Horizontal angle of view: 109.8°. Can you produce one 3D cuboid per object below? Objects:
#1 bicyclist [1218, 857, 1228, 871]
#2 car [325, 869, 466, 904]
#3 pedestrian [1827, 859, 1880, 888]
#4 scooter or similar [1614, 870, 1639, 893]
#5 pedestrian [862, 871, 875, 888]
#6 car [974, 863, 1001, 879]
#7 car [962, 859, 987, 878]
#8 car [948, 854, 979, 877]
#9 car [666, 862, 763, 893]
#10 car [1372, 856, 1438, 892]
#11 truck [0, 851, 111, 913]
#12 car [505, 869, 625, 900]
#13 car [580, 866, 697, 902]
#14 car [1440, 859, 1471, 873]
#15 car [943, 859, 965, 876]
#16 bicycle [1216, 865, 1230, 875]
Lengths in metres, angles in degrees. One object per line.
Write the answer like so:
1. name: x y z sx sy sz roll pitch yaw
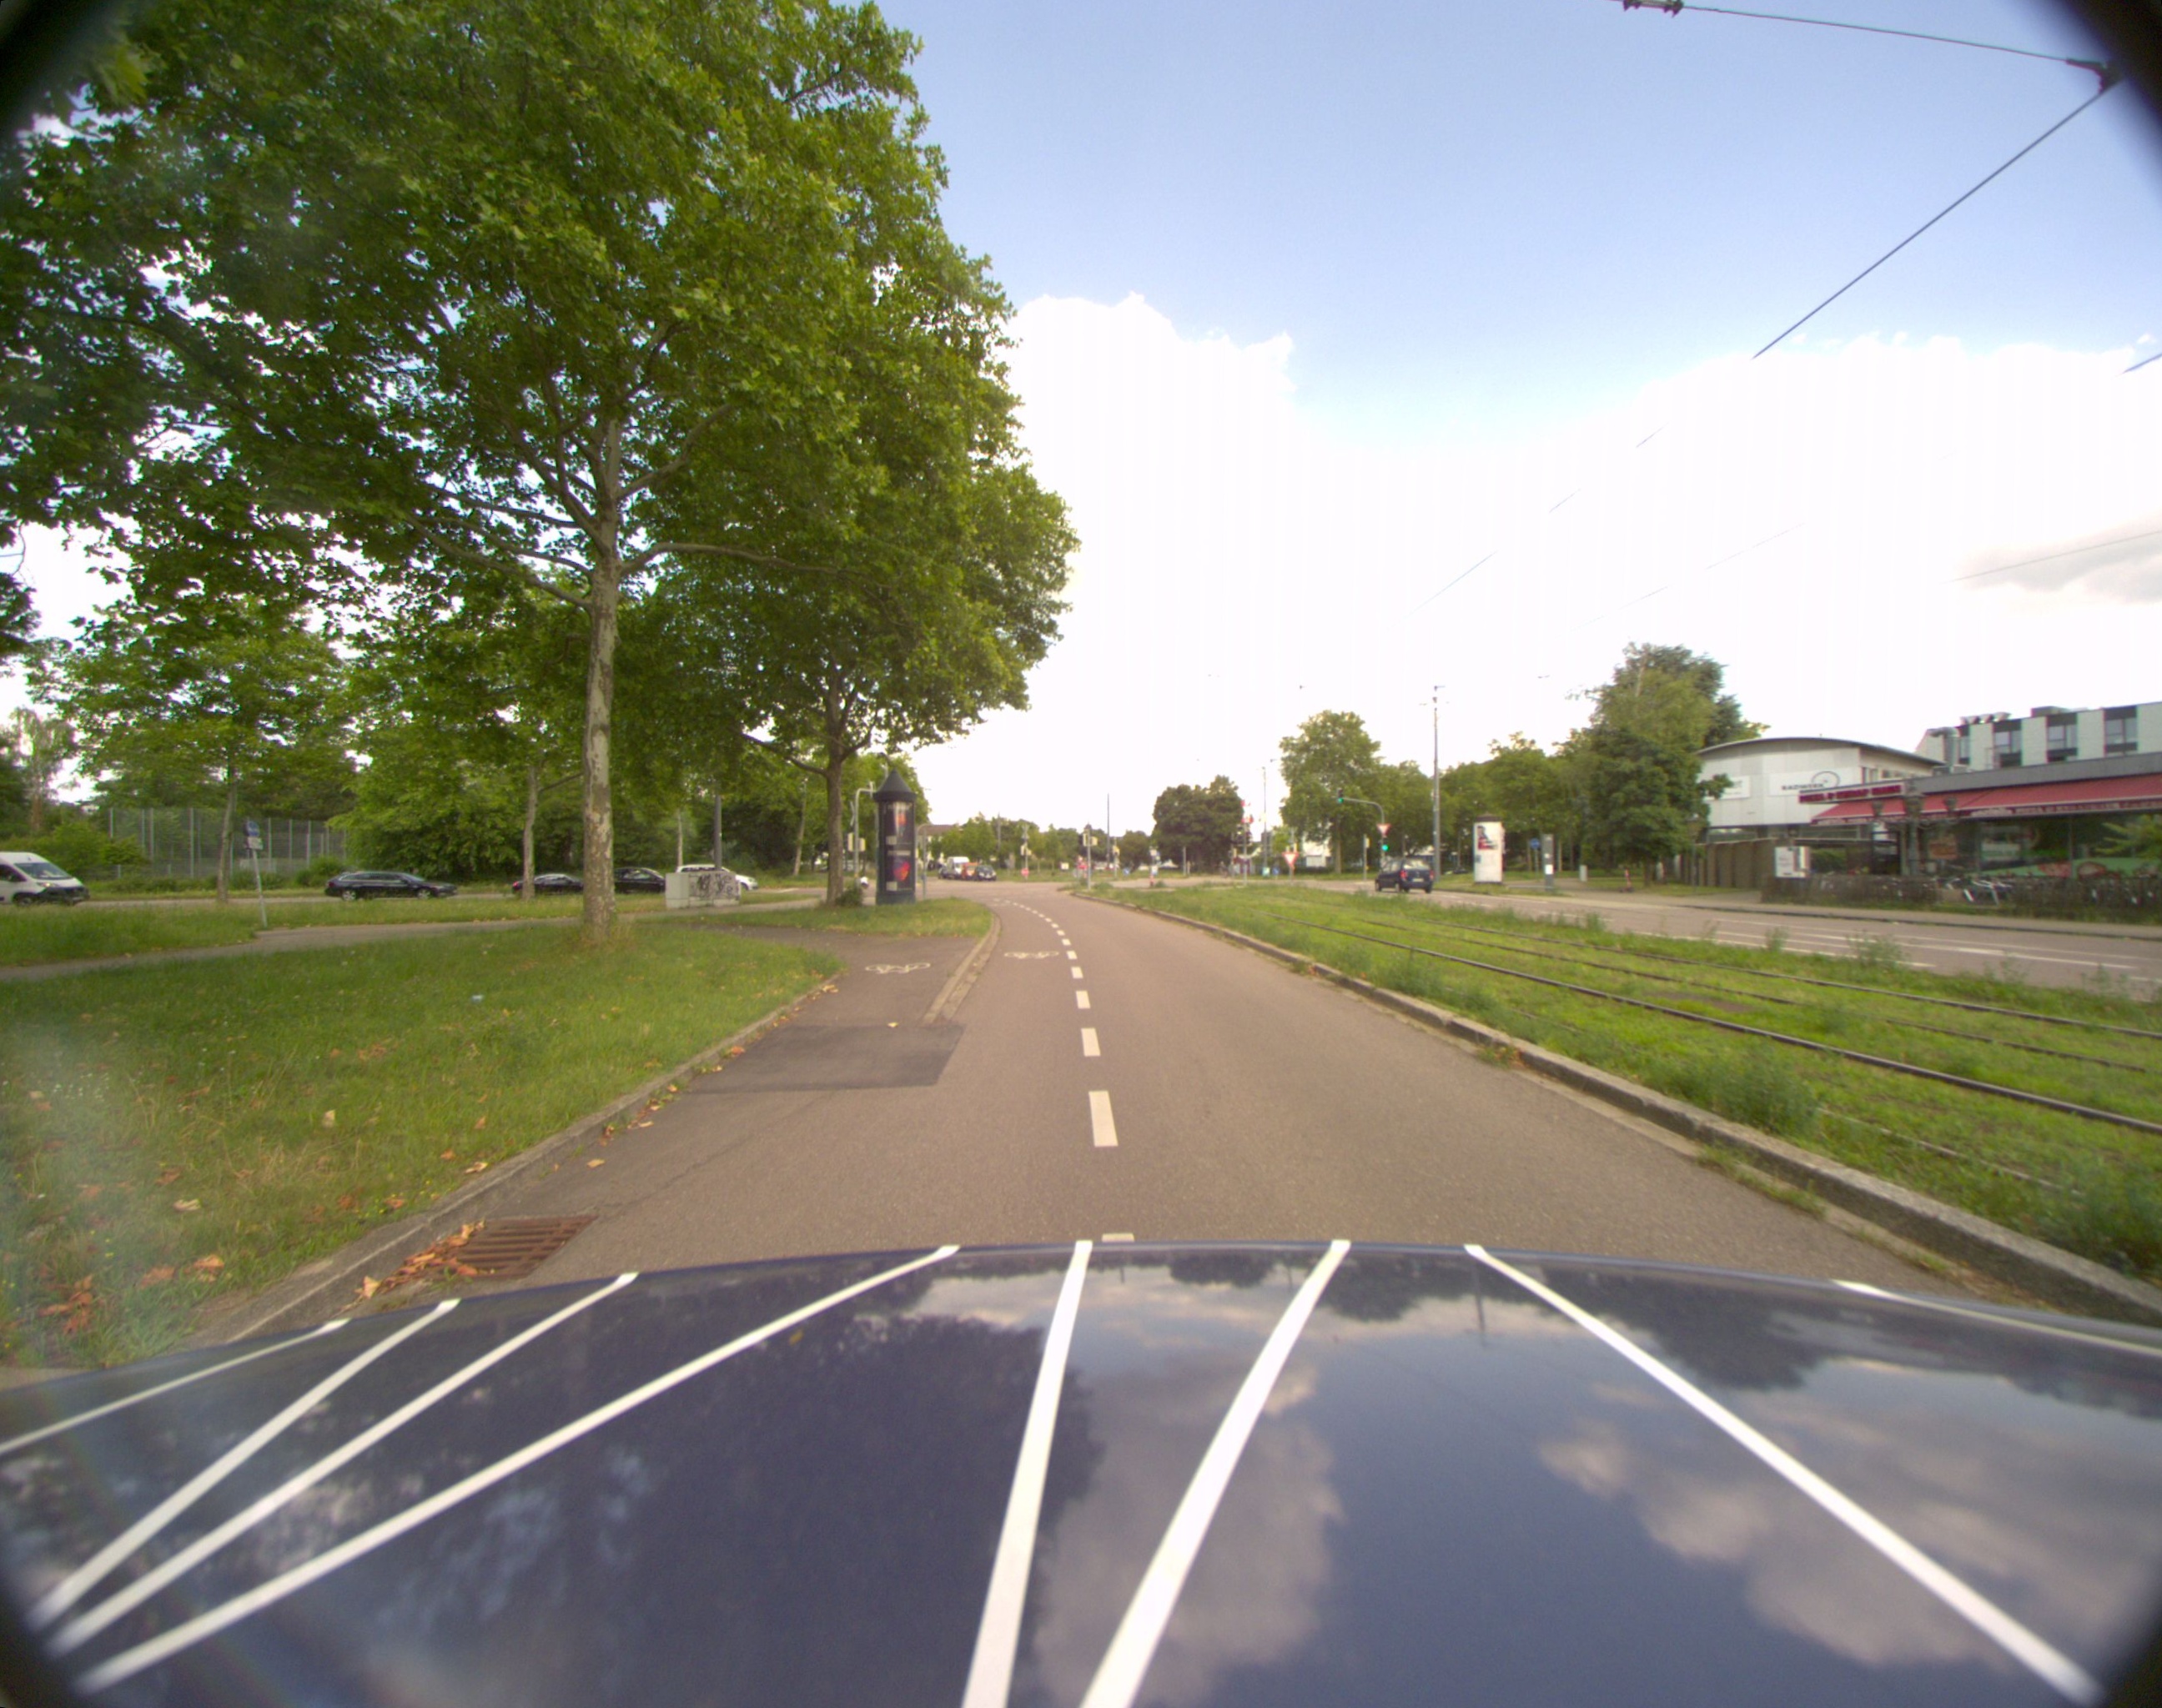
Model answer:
1. bicyclist: 14.968 1.033 80.275 0.804 1.461 0.832 -1 -1 -7
2. car: -33.314 1.552 37.125 4.692 1.504 1.996 0 0 -21
3. pedestrian: 30.800 0.761 30.321 1.156 1.139 0.932 0 0 1
4. scooter or similar: 25.173 1.242 35.069 0.427 1.027 1.224 -1 0 10
5. pedestrian: -13.253 1.593 47.420 0.723 1.028 0.900 0 0 -20
6. car: -9.231 1.679 74.894 1.798 1.530 3.994 -1 0 -19
7. car: -11.320 1.556 80.616 1.798 1.924 4.361 -1 0 -20
8. car: -13.462 1.335 86.791 2.242 2.492 5.716 -1 0 -21
9. car: -20.255 1.277 42.226 4.692 1.601 1.996 0 1 -21
10. car: 15.540 0.937 36.584 1.783 1.617 3.496 0 0 2
11. truck: -46.855 1.189 32.427 6.515 2.580 2.213 0 0 -20
12. car: -26.572 1.545 39.336 4.754 1.461 1.996 0 0 -21
13. car: -21.712 1.433 37.474 4.691 1.601 1.996 0 1 -20
14. car: 42.395 1.344 85.900 3.864 1.514 1.695 0 0 -39
15. car: -15.444 1.611 92.162 1.798 1.924 4.361 -1 0 -20
16. bicycle: 14.996 1.716 80.180 0.804 1.053 2.069 -1 -2 -7
